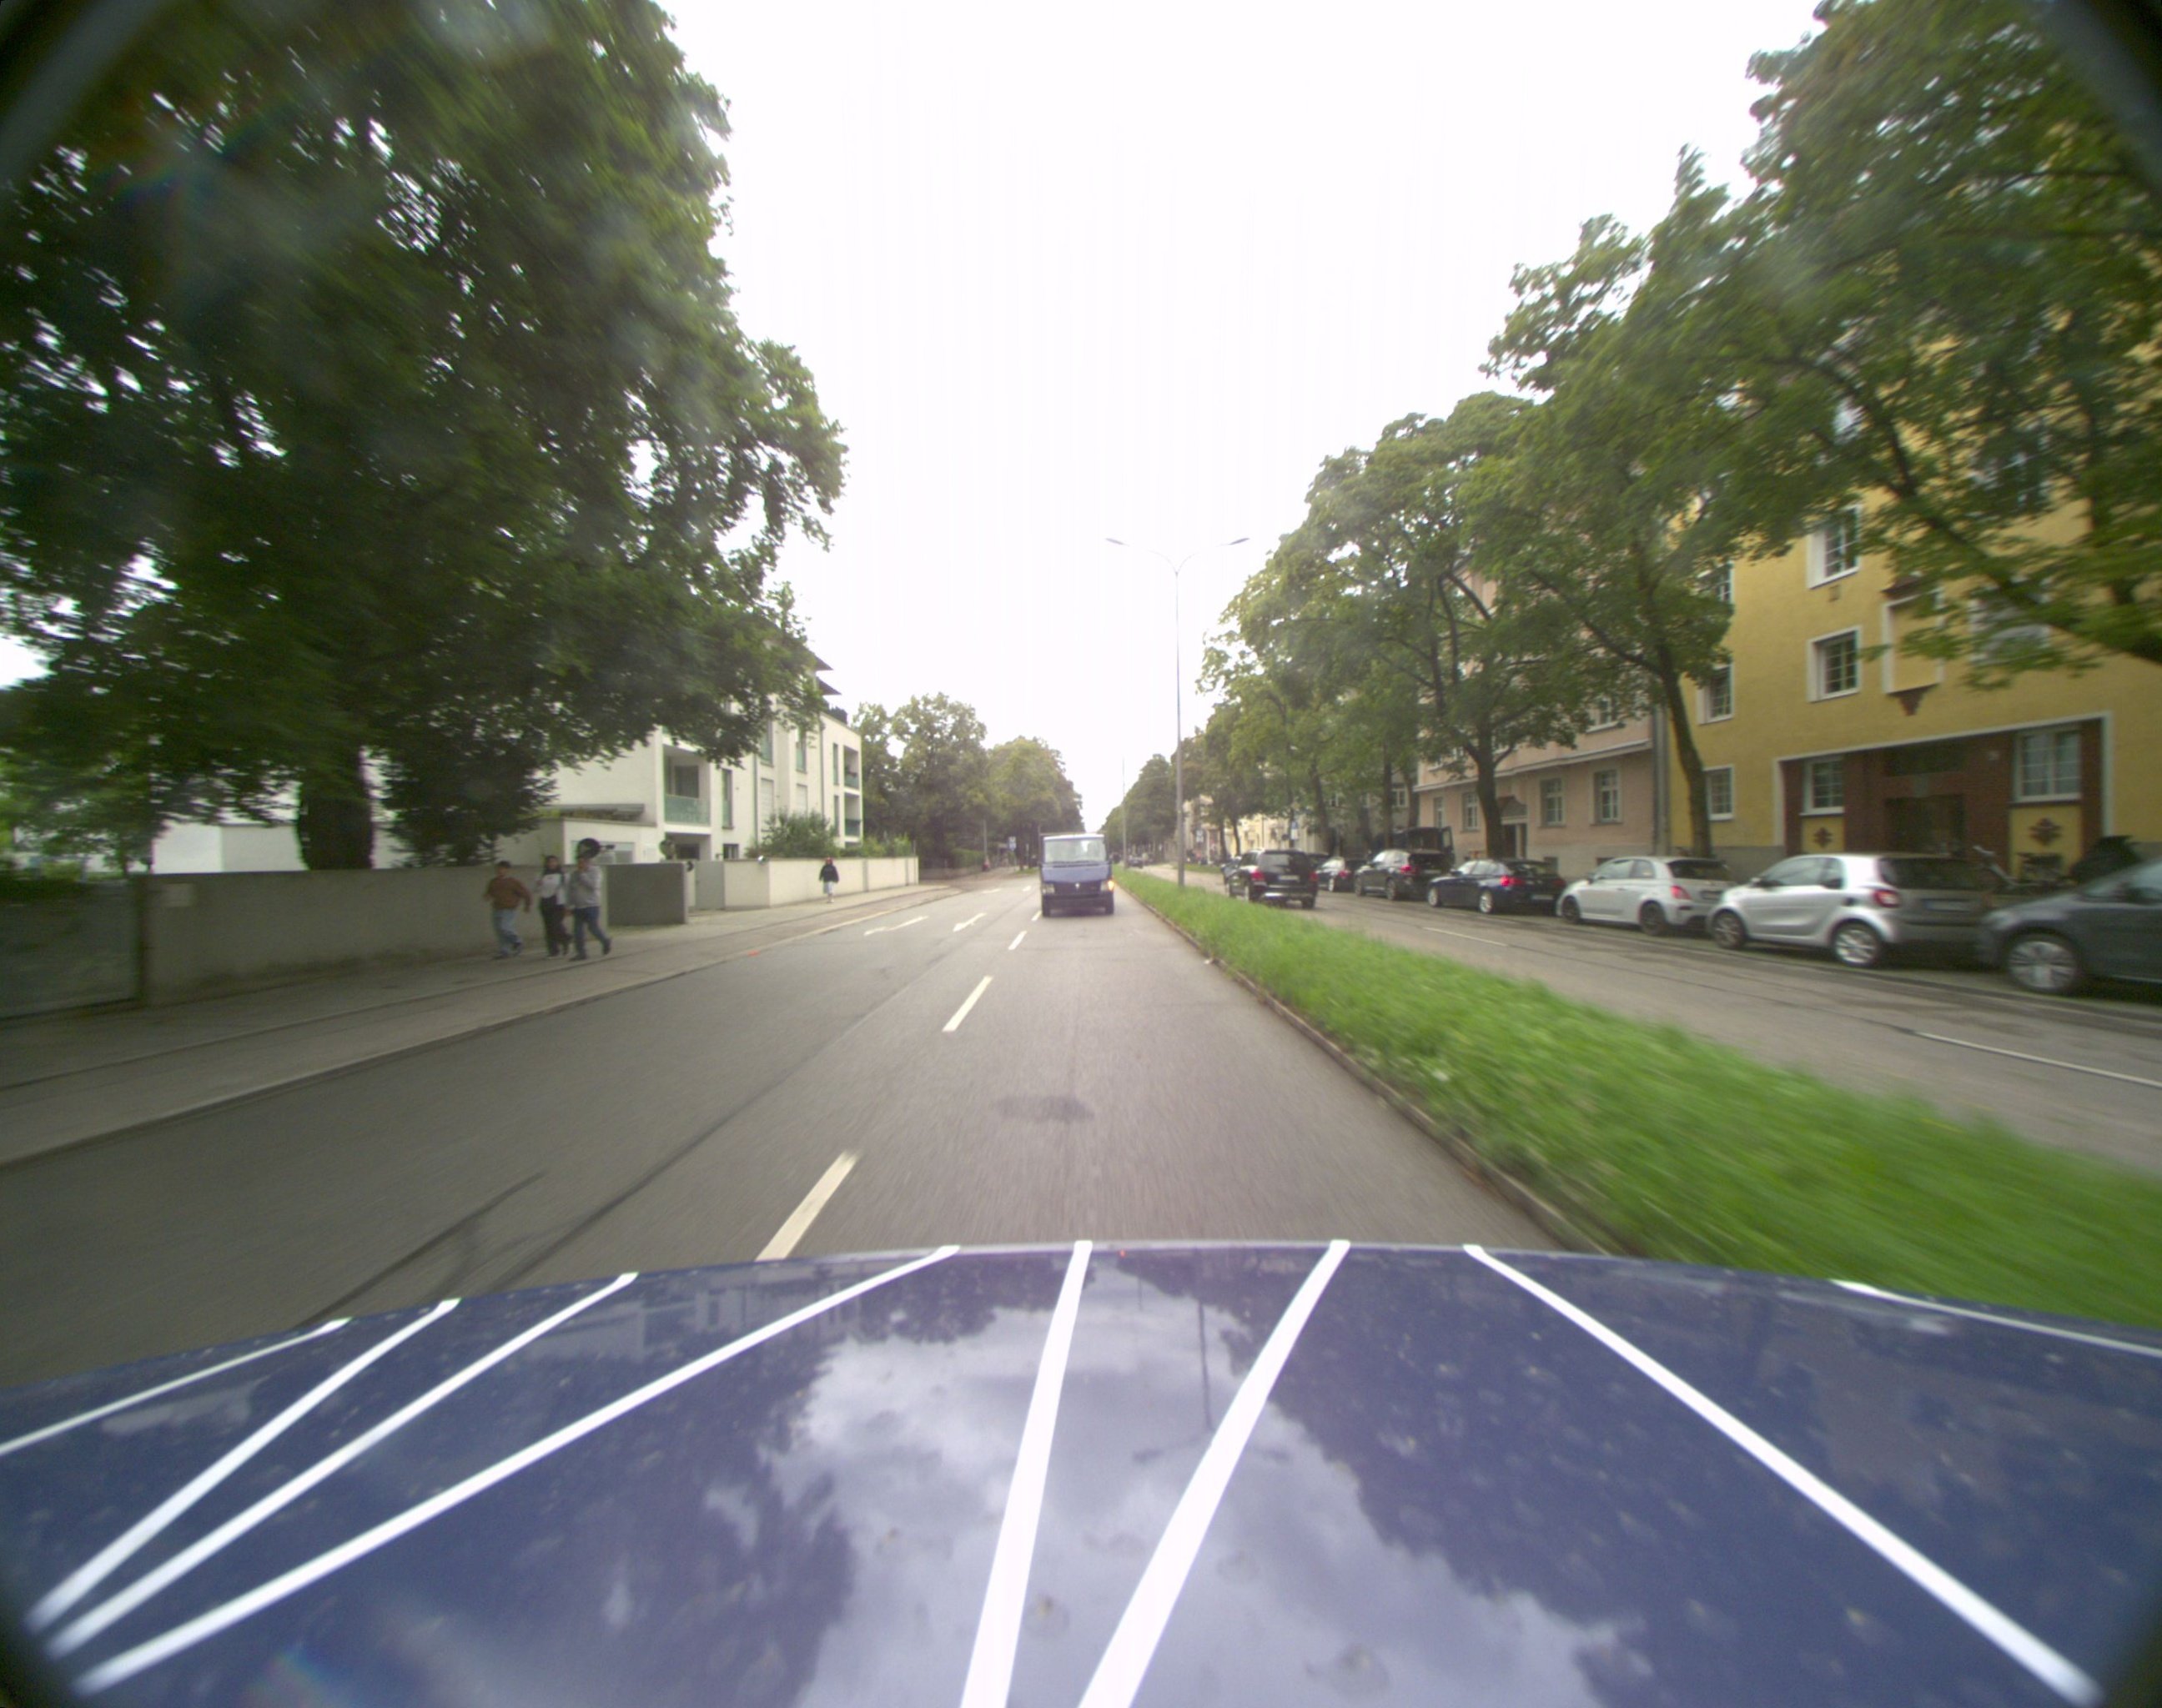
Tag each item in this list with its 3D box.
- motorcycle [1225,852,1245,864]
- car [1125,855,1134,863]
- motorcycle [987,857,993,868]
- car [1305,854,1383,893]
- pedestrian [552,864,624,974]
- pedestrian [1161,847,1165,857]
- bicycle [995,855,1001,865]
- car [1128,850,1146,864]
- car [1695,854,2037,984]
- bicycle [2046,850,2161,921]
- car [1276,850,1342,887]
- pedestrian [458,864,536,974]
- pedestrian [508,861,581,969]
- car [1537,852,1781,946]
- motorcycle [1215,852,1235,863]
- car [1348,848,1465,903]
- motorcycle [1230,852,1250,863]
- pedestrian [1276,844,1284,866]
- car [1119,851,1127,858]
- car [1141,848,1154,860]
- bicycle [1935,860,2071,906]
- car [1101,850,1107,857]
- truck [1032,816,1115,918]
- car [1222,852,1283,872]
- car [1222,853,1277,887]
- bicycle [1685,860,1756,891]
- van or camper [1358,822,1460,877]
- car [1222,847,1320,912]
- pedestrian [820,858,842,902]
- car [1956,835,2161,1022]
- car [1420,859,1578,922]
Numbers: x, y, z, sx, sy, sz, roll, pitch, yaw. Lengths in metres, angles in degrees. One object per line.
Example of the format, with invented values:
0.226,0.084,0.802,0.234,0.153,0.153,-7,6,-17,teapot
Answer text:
15.788,0.425,77.811,1.953,1.143,0.597,-1,1,38,motorcycle
11.566,1.267,180.245,1.872,1.827,4.000,-1,0,1,car
-9.268,0.864,77.357,0.497,1.135,1.631,-1,0,-10,motorcycle
10.826,0.765,31.583,1.696,1.446,4.492,-1,0,1,car
-7.949,1.027,12.274,0.668,1.712,0.729,1,1,-1,pedestrian
16.594,-0.415,154.120,0.641,2.031,0.738,-1,1,11,pedestrian
-9.284,0.688,84.884,0.490,1.092,1.631,-1,0,-10,bicycle
6.422,0.349,87.154,1.815,1.498,4.323,1,0,1,car
10.841,0.792,10.819,1.731,1.549,3.009,-1,0,-1,car
19.084,0.537,13.763,0.771,1.215,1.930,-1,0,0,bicycle
10.938,0.646,36.769,1.878,1.677,4.438,-1,0,1,car
-9.416,1.024,12.270,0.668,1.695,0.766,1,1,-1,pedestrian
-8.700,0.962,12.347,0.668,1.683,0.729,1,1,-1,pedestrian
11.075,0.767,14.980,1.731,1.552,4.057,-1,0,1,car
15.399,0.400,81.359,1.954,1.143,0.597,-1,1,21,motorcycle
10.750,0.635,25.509,1.883,1.636,4.770,-1,0,1,car
16.475,0.390,78.706,1.953,1.143,0.597,-1,1,38,motorcycle
18.329,0.082,70.079,0.599,2.048,0.685,-1,1,20,pedestrian
11.802,0.077,212.870,1.872,1.827,4.000,-1,0,1,car
11.152,-0.043,128.009,1.790,2.002,4.000,-1,0,1,car
19.413,0.584,16.064,0.543,0.894,1.930,-1,0,0,bicycle
6.528,-0.201,217.313,1.814,1.761,4.000,-1,0,1,car
-0.153,0.307,21.182,1.998,2.475,5.151,-1,0,1,truck
12.630,0.590,56.019,3.990,1.367,1.865,-2,-1,26,car
8.176,0.742,37.188,1.815,1.498,4.057,1,0,1,car
19.548,0.636,23.266,0.543,0.894,1.930,-1,0,0,bicycle
16.908,-0.206,39.673,2.351,2.564,6.851,-1,0,0,van or camper
5.362,0.659,22.021,1.774,1.669,4.368,0,0,1,car
-9.122,0.951,27.756,0.529,1.572,0.729,1,1,-1,pedestrian
10.843,0.673,6.260,1.815,1.718,4.767,-1,0,1,car
10.677,0.860,19.801,1.731,1.398,4.363,-1,0,1,car
